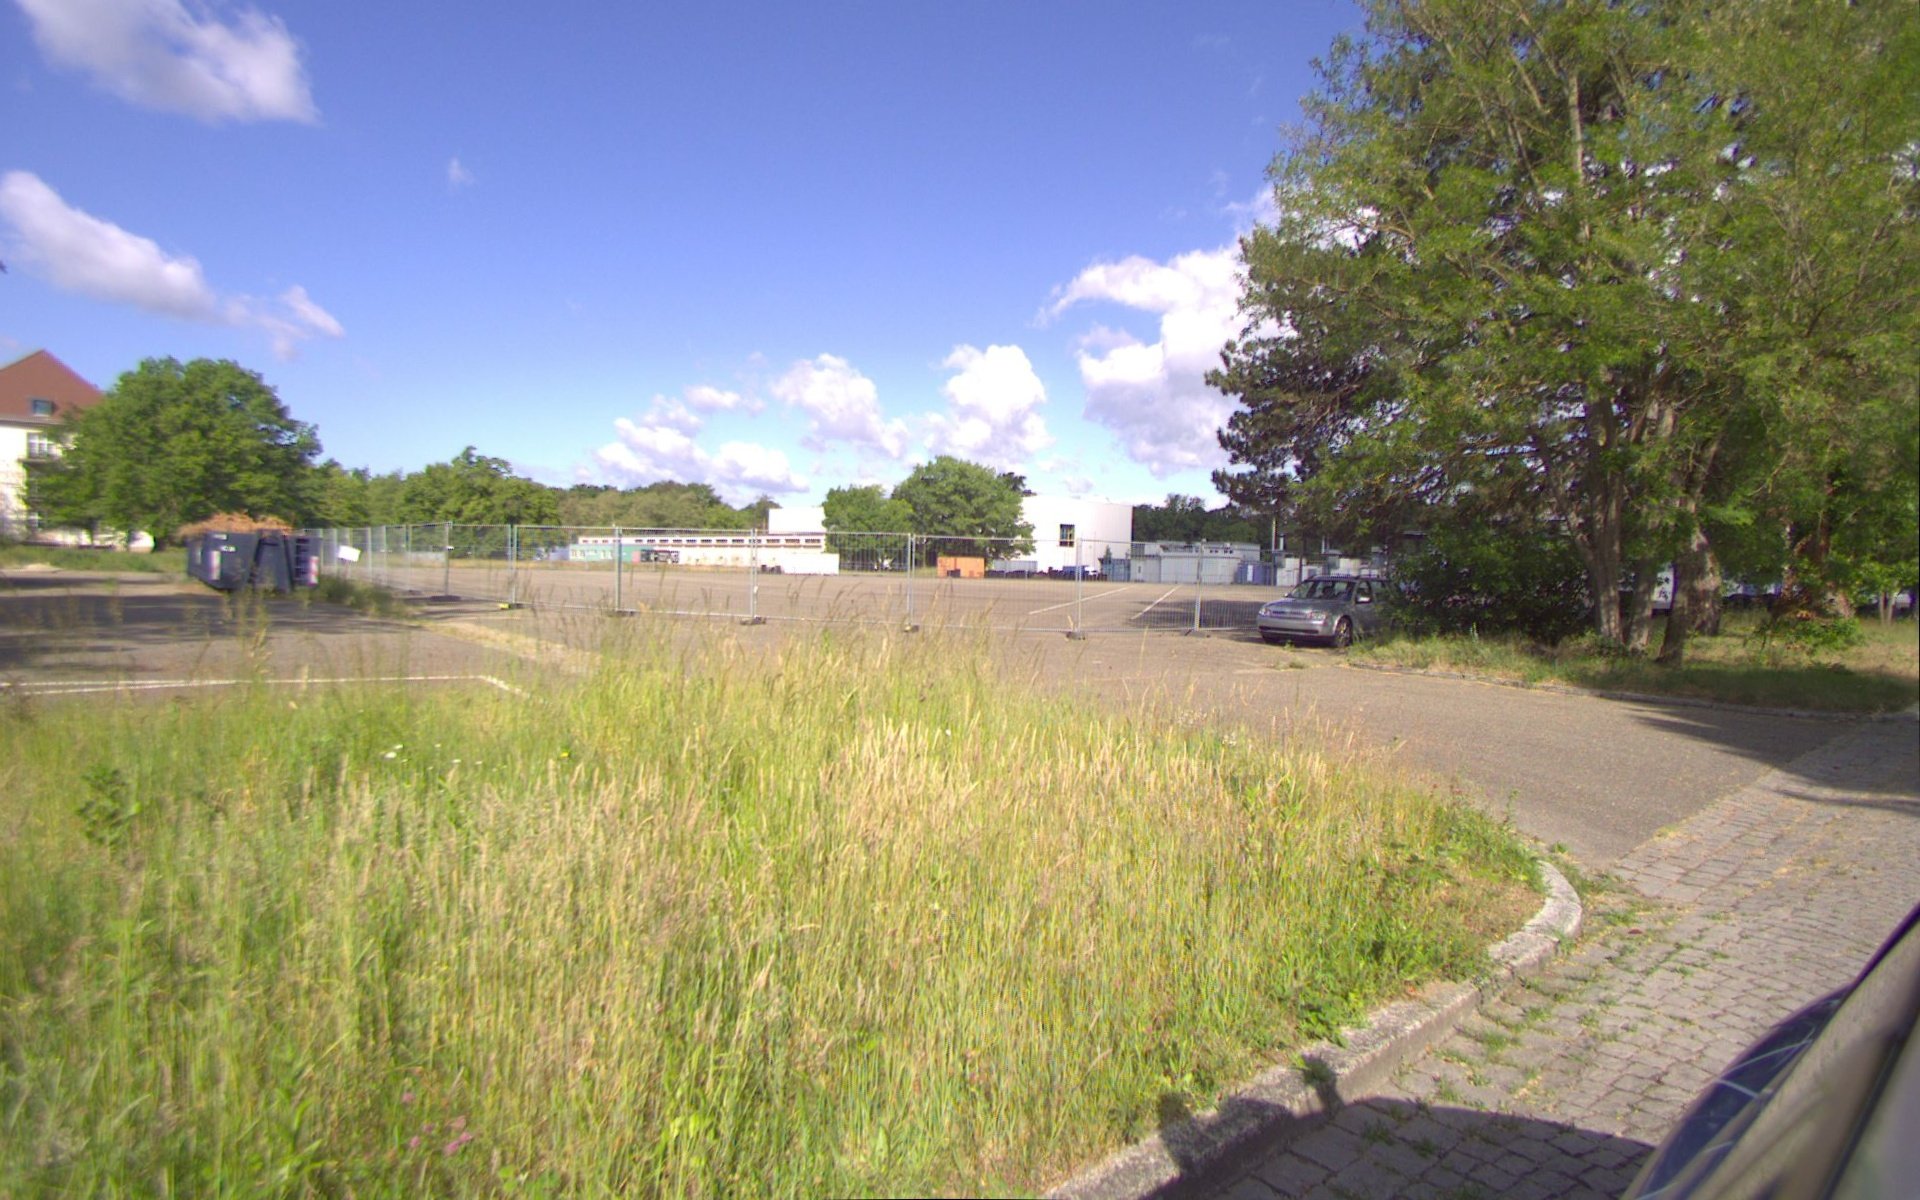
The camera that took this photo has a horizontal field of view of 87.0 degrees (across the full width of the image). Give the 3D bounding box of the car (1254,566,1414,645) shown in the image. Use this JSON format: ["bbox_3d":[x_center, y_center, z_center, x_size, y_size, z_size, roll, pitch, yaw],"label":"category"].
[{"bbox_3d":[7.902,0.070,21.211,3.921,1.461,1.576,0,3,-44],"label":"car"}]
